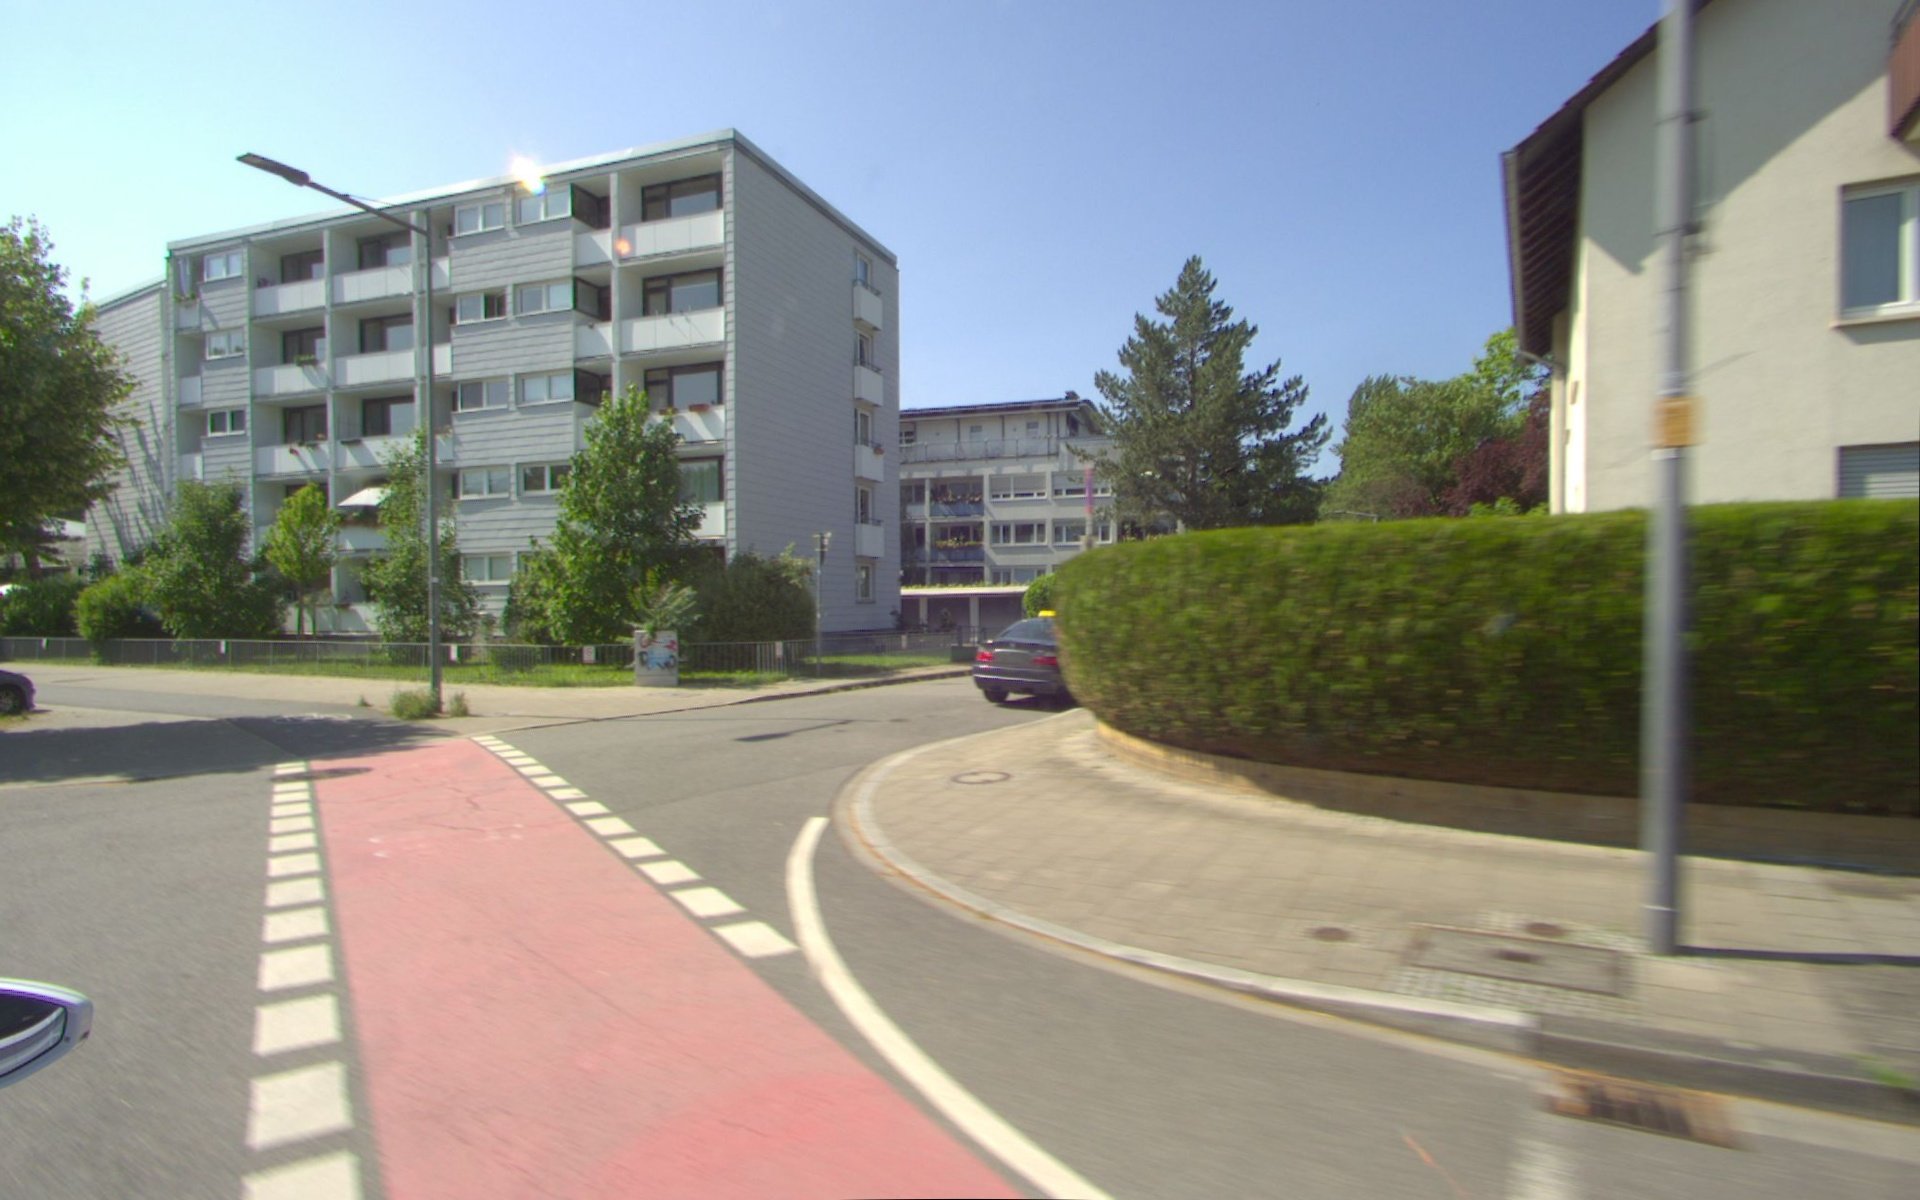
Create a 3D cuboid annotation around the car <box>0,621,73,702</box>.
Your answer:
[{"bbox_3d":[-16.019,0.975,15.004,1.719,1.253,4.000,0,0,5],"label":"car"}]

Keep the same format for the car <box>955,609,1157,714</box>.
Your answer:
[{"bbox_3d":[1.748,0.924,16.953,1.783,1.417,4.109,4,2,31],"label":"car"}]
